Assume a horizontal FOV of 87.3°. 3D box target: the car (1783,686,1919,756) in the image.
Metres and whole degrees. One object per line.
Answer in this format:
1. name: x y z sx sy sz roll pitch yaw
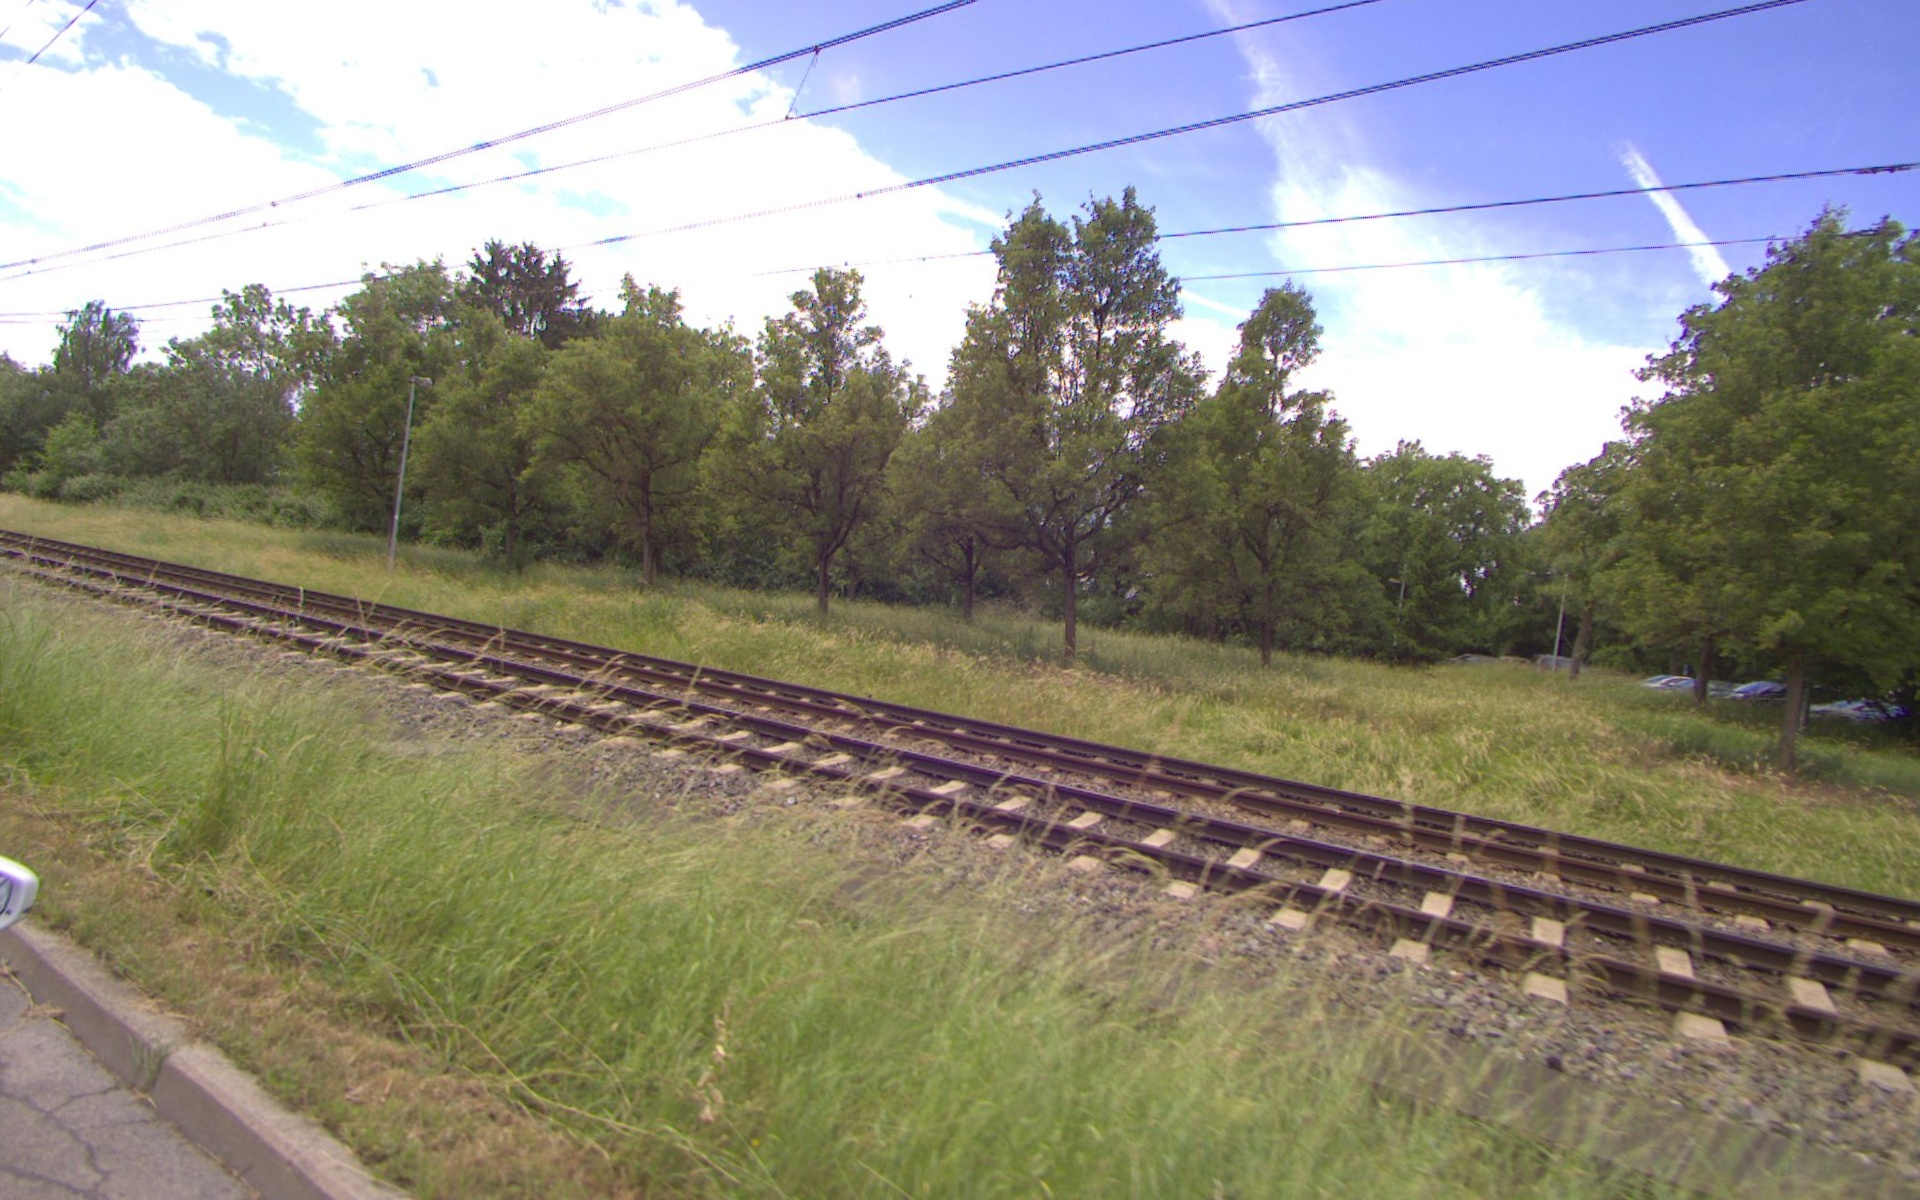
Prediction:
1. car: 31.247 4.204 34.627 3.924 1.834 2.001 7 0 6

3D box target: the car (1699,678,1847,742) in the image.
1. car: 31.980 4.292 39.684 3.924 1.834 2.001 7 0 6

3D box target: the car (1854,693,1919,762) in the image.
1. car: 29.198 3.967 29.498 3.925 1.826 1.749 7 0 19

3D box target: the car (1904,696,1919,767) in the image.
1. car: 26.913 3.665 25.424 3.925 1.826 1.749 7 0 19

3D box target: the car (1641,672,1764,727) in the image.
1. car: 34.228 4.560 46.459 3.924 1.834 2.001 7 0 6
